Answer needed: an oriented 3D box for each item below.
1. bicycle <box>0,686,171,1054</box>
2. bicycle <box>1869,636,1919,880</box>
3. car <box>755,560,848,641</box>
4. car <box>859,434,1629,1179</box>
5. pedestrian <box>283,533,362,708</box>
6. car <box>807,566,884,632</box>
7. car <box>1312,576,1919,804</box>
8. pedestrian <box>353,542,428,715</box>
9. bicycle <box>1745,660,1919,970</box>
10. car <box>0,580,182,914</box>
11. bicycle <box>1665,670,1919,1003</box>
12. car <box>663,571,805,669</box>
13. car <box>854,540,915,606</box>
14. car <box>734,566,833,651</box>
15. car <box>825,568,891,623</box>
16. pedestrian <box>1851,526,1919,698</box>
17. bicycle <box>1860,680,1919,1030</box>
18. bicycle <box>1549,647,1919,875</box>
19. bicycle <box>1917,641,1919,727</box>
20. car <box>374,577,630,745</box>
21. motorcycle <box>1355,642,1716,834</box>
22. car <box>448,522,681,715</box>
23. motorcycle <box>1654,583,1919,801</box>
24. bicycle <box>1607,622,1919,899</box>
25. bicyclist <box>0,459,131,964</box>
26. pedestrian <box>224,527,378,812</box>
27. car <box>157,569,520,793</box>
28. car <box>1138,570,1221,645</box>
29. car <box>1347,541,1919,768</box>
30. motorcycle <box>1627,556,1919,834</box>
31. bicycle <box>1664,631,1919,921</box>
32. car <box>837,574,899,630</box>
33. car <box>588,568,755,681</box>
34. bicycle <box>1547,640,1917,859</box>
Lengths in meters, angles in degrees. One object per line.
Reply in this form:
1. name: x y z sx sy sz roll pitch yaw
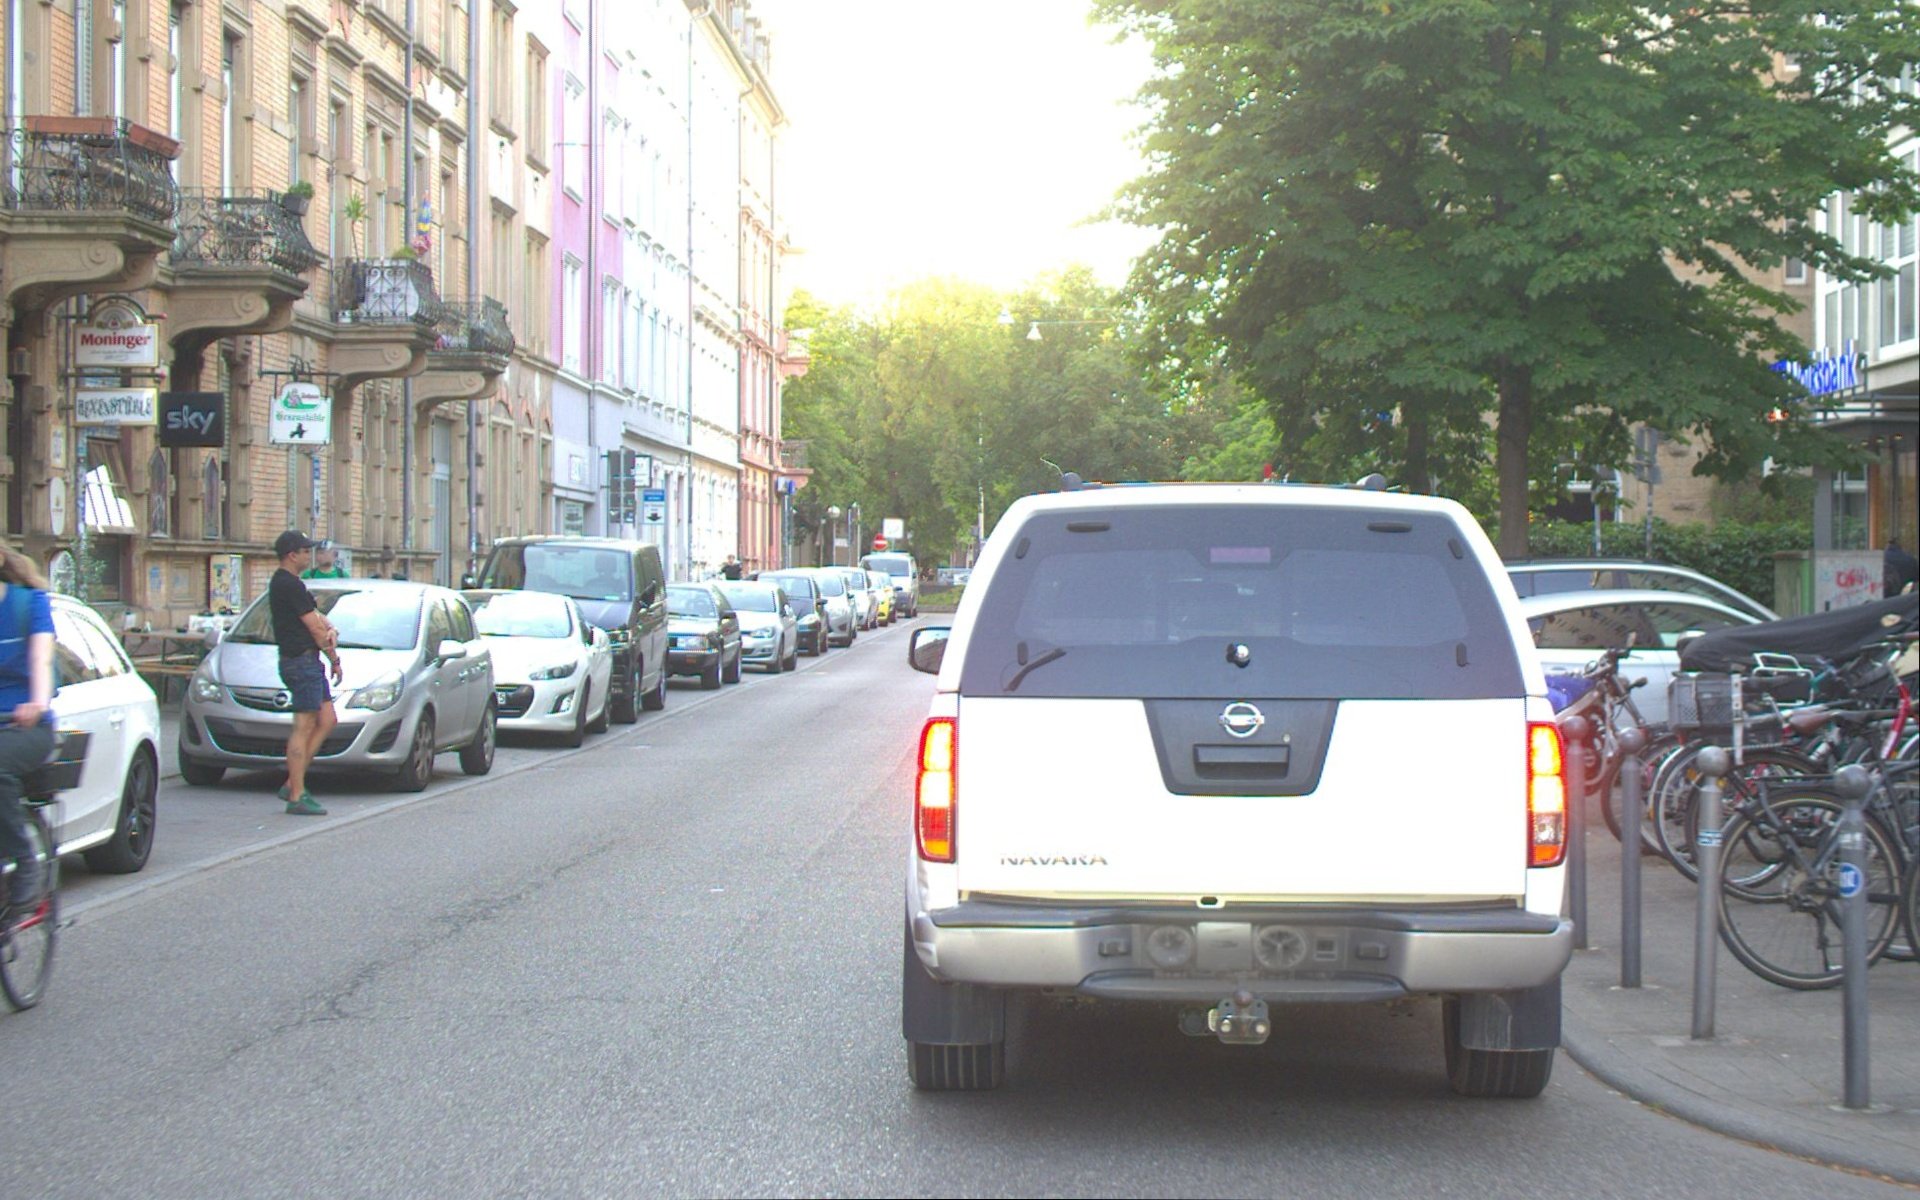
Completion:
1. bicycle: -3.260 0.869 11.280 0.645 1.077 2.168 -1 1 5
2. bicycle: 5.246 0.706 16.180 1.722 1.114 0.654 -2 0 -1
3. car: -3.311 0.004 72.409 1.844 1.653 4.253 0 0 -1
4. car: 0.782 0.520 11.361 1.911 1.847 5.270 1 0 1
5. pedestrian: -6.628 0.202 35.765 0.580 1.765 0.998 3 1 -2
6. car: -2.912 -0.036 88.297 1.698 1.615 4.022 2 0 1
7. car: 4.946 0.626 25.207 4.422 1.450 1.780 -2 0 -4
8. pedestrian: -5.960 0.288 35.999 0.605 1.766 0.777 3 1 -2
9. bicycle: 3.989 0.782 13.075 1.809 1.114 0.707 -2 0 0
10. car: -5.016 0.635 15.691 1.758 1.407 4.508 1 1 2
11. bicycle: 3.473 0.816 12.306 1.722 1.114 0.707 -2 0 0
12. car: -3.669 0.300 56.360 1.834 1.453 4.206 3 0 2
13. car: -2.400 -0.854 108.501 1.810 1.970 4.187 2 0 -2
14. car: -3.379 0.146 66.251 1.636 1.560 3.781 1 0 1
15. car: -2.792 -0.137 94.430 1.698 1.421 4.022 2 0 -1
16. pedestrian: 9.577 0.112 35.005 0.727 1.710 0.963 -2 0 2
17. bicycle: 3.949 0.810 11.425 1.722 1.114 0.707 -2 0 5
18. bicycle: 3.925 0.810 17.471 1.720 1.028 0.667 -4 -1 5
19. bicycle: 5.275 0.714 15.457 1.722 1.114 0.654 -2 0 -1
20. car: -4.281 0.528 32.773 1.783 1.418 4.485 2 0 0
21. motorcycle: 3.536 0.833 21.157 2.057 1.074 0.664 -2 0 -13
22. car: -4.292 0.168 37.994 1.993 1.917 4.951 2 0 -1
23. motorcycle: 5.819 0.606 23.211 2.057 1.365 0.717 -2 1 -2
24. bicycle: 4.037 0.728 16.081 1.869 1.178 0.742 -4 -1 7
25. bicyclist: -3.257 0.358 11.494 0.645 1.615 0.918 -1 0 5
26. pedestrian: -4.147 0.432 21.677 0.554 1.749 1.021 1 -1 14
27. car: -4.476 0.533 25.327 1.717 1.452 4.000 2 1 3
28. car: 4.752 0.143 74.568 1.676 1.496 3.900 -3 0 3
29. car: 5.452 0.422 27.952 4.399 1.642 1.746 -2 0 2
30. motorcycle: 5.250 0.532 20.183 2.492 1.544 0.824 -2 -1 5
31. bicycle: 4.047 0.745 15.093 1.789 1.178 0.733 -4 -1 13
32. car: -2.672 0.039 100.360 1.698 1.547 4.022 2 0 -1
33. car: -3.915 0.327 47.331 1.737 1.413 4.778 2 0 1
34. bicycle: 4.041 0.780 18.082 1.773 1.019 0.565 -4 -1 5
